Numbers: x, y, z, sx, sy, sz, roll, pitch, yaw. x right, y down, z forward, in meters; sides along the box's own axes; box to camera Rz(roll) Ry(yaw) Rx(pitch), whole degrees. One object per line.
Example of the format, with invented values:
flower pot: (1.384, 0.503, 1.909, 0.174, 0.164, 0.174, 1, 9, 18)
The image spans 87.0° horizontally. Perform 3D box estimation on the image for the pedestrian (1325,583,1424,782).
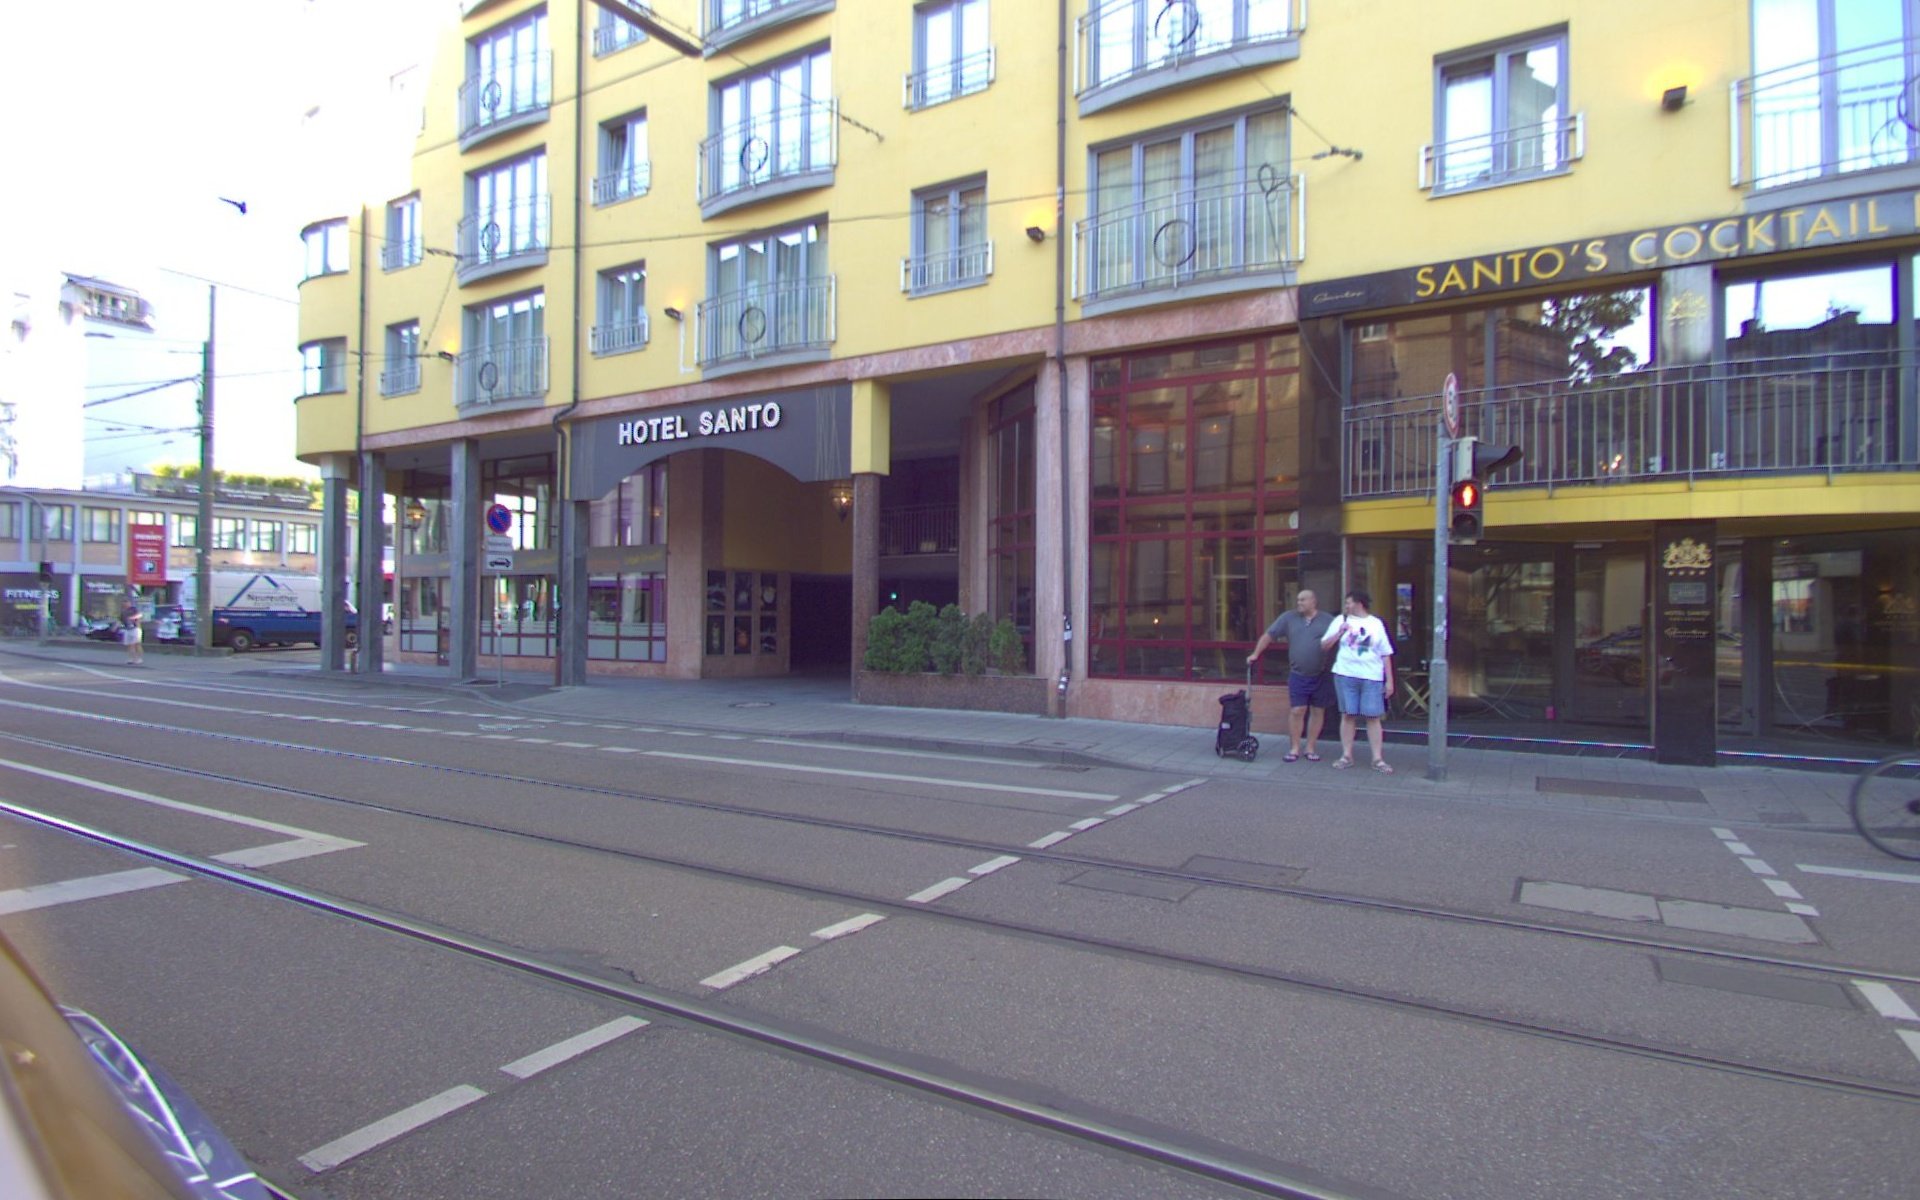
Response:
pedestrian: (4.178, 0.779, 10.163, 0.751, 1.832, 1.035, -1, 3, 30)

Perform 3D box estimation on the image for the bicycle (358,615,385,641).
bicycle: (-27.499, 1.307, 47.258, 1.829, 1.196, 0.427, -1, -2, 39)

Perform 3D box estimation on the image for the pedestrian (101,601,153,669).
pedestrian: (-23.129, 0.975, 28.113, 0.906, 1.846, 0.827, -1, -2, 31)

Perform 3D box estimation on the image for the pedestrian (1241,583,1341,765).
pedestrian: (3.469, 0.741, 10.582, 0.798, 1.784, 0.741, -1, 3, 33)

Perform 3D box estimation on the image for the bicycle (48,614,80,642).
bicycle: (-39.501, 1.236, 44.610, 1.823, 1.196, 0.445, -1, -2, 29)

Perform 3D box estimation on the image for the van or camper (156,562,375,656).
van or camper: (-22.994, 0.362, 33.810, 2.307, 2.849, 5.563, -1, -2, 32)

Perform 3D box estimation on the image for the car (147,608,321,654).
car: (-25.167, 1.083, 35.261, 1.873, 1.487, 4.554, -1, -2, 31)

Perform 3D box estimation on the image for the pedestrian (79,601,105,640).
pedestrian: (-38.687, 0.906, 45.101, 0.680, 1.710, 0.676, -1, -2, 29)

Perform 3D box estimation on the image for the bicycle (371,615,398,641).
bicycle: (-27.132, 1.325, 47.718, 1.829, 1.196, 0.427, -1, -2, 39)

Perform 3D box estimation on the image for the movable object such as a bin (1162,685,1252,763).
movable object such as a bin: (2.635, 1.310, 10.810, 0.838, 0.721, 0.380, -1, 3, 33)

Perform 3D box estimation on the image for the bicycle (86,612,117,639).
bicycle: (-38.698, 1.154, 45.622, 1.823, 1.196, 0.445, -1, -2, 29)

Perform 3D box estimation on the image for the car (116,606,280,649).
car: (-28.539, 1.039, 38.053, 1.873, 1.487, 4.554, -1, -2, 31)

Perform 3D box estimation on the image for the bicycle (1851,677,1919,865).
bicycle: (6.761, 1.079, 6.154, 1.890, 1.117, 0.692, 0, -1, 30)

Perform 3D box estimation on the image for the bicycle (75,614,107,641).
bicycle: (-38.940, 1.228, 45.332, 1.823, 1.196, 0.445, -1, -2, 29)

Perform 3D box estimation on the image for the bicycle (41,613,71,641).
bicycle: (-39.413, 1.169, 44.098, 1.825, 1.196, 0.437, -1, -2, 31)

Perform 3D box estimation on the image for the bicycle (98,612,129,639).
bicycle: (-38.529, 1.170, 46.058, 1.823, 1.196, 0.445, -1, -2, 29)

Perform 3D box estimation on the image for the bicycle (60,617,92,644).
bicycle: (-39.348, 1.351, 45.042, 1.823, 1.196, 0.440, -1, -2, 29)

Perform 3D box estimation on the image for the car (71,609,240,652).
car: (-31.529, 1.203, 39.829, 1.873, 1.595, 4.858, -1, -2, 31)

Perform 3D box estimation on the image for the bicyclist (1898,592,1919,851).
bicyclist: (6.589, 0.780, 6.265, 0.986, 1.656, 0.696, 0, -1, 30)

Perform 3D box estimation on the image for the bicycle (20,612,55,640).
bicycle: (-40.001, 1.140, 43.869, 1.821, 1.196, 0.443, -1, -2, 26)
